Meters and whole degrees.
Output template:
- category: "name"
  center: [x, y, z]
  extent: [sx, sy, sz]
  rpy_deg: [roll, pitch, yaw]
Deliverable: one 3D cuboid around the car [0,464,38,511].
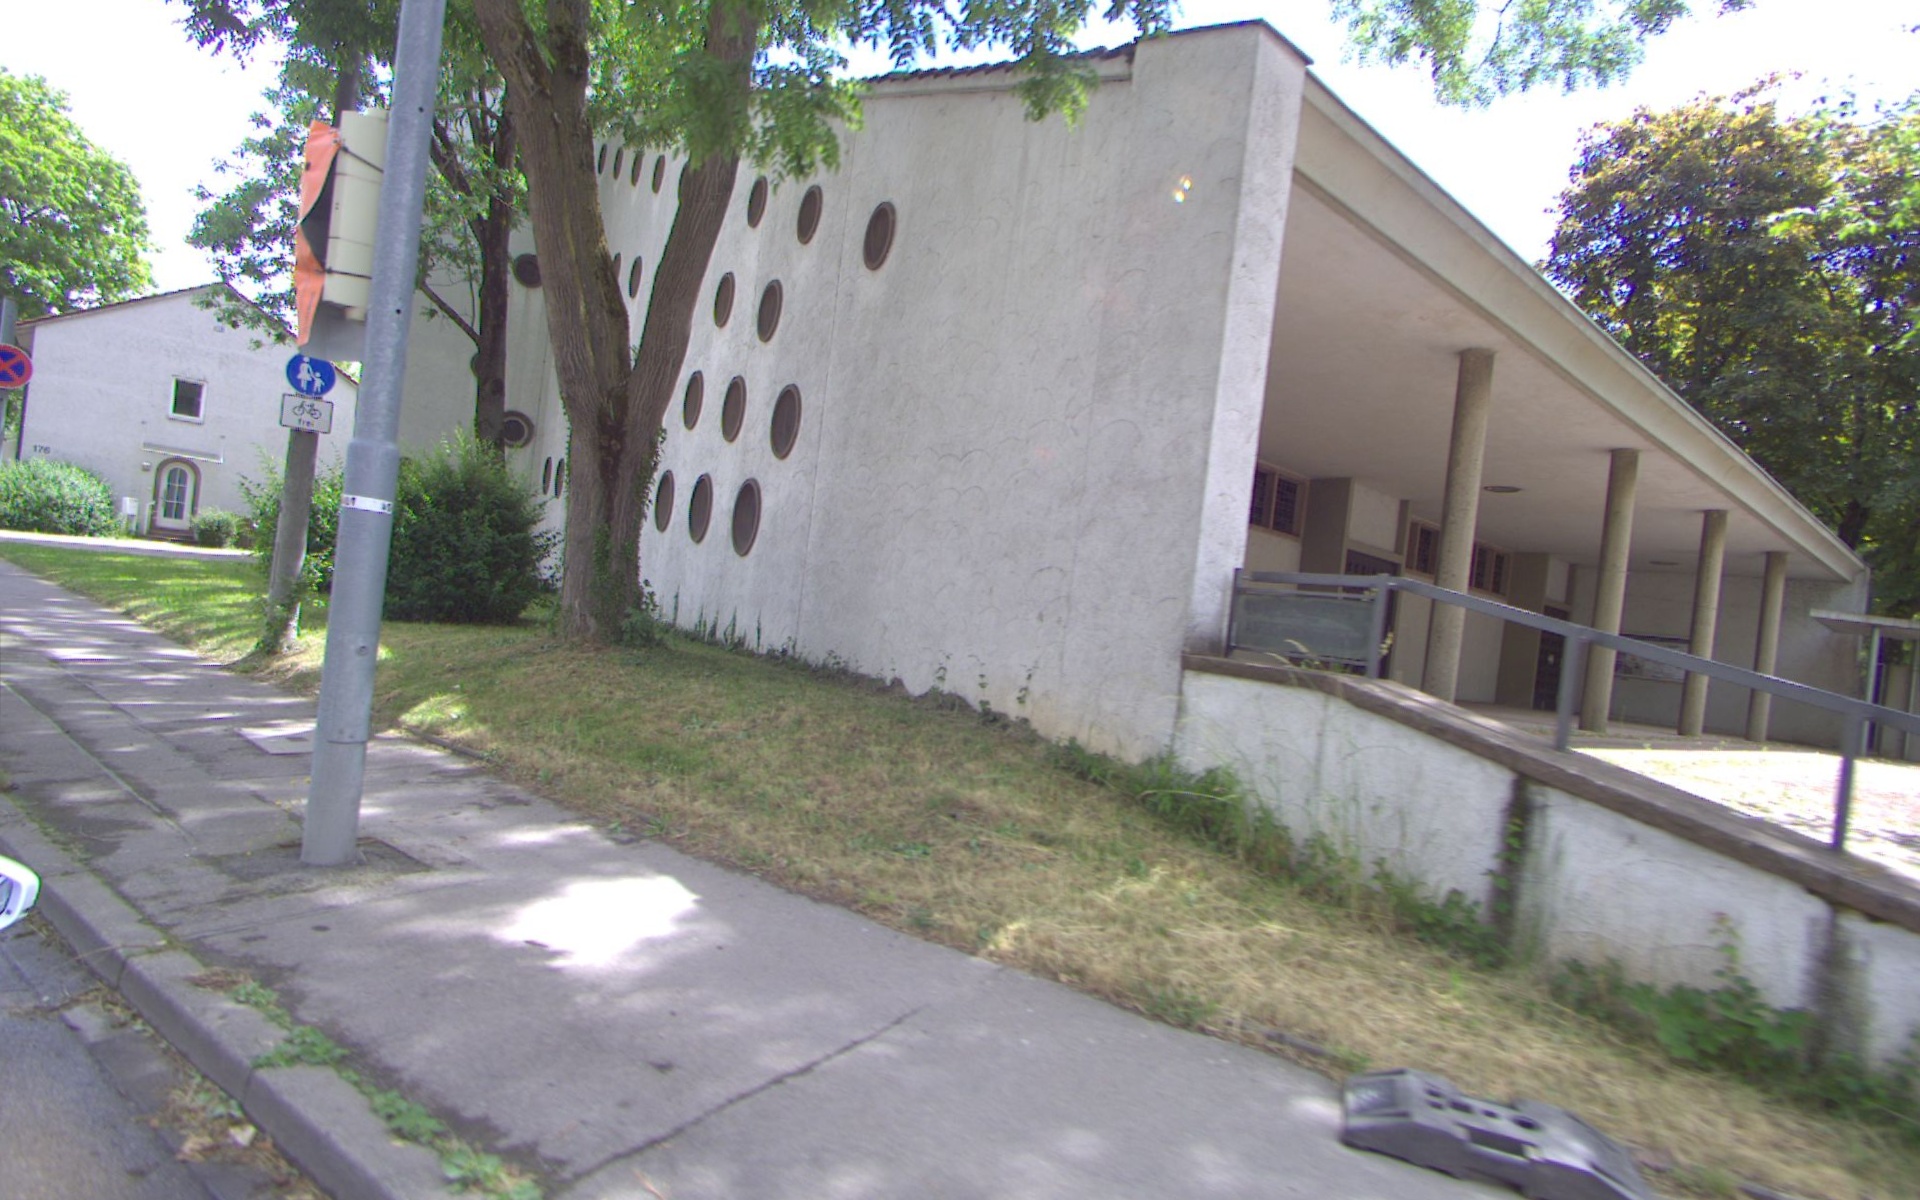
- category: "car"
  center: [-38.739, -4.580, 40.745]
  extent: [1.804, 1.670, 3.955]
  rpy_deg: [6, 0, -41]
